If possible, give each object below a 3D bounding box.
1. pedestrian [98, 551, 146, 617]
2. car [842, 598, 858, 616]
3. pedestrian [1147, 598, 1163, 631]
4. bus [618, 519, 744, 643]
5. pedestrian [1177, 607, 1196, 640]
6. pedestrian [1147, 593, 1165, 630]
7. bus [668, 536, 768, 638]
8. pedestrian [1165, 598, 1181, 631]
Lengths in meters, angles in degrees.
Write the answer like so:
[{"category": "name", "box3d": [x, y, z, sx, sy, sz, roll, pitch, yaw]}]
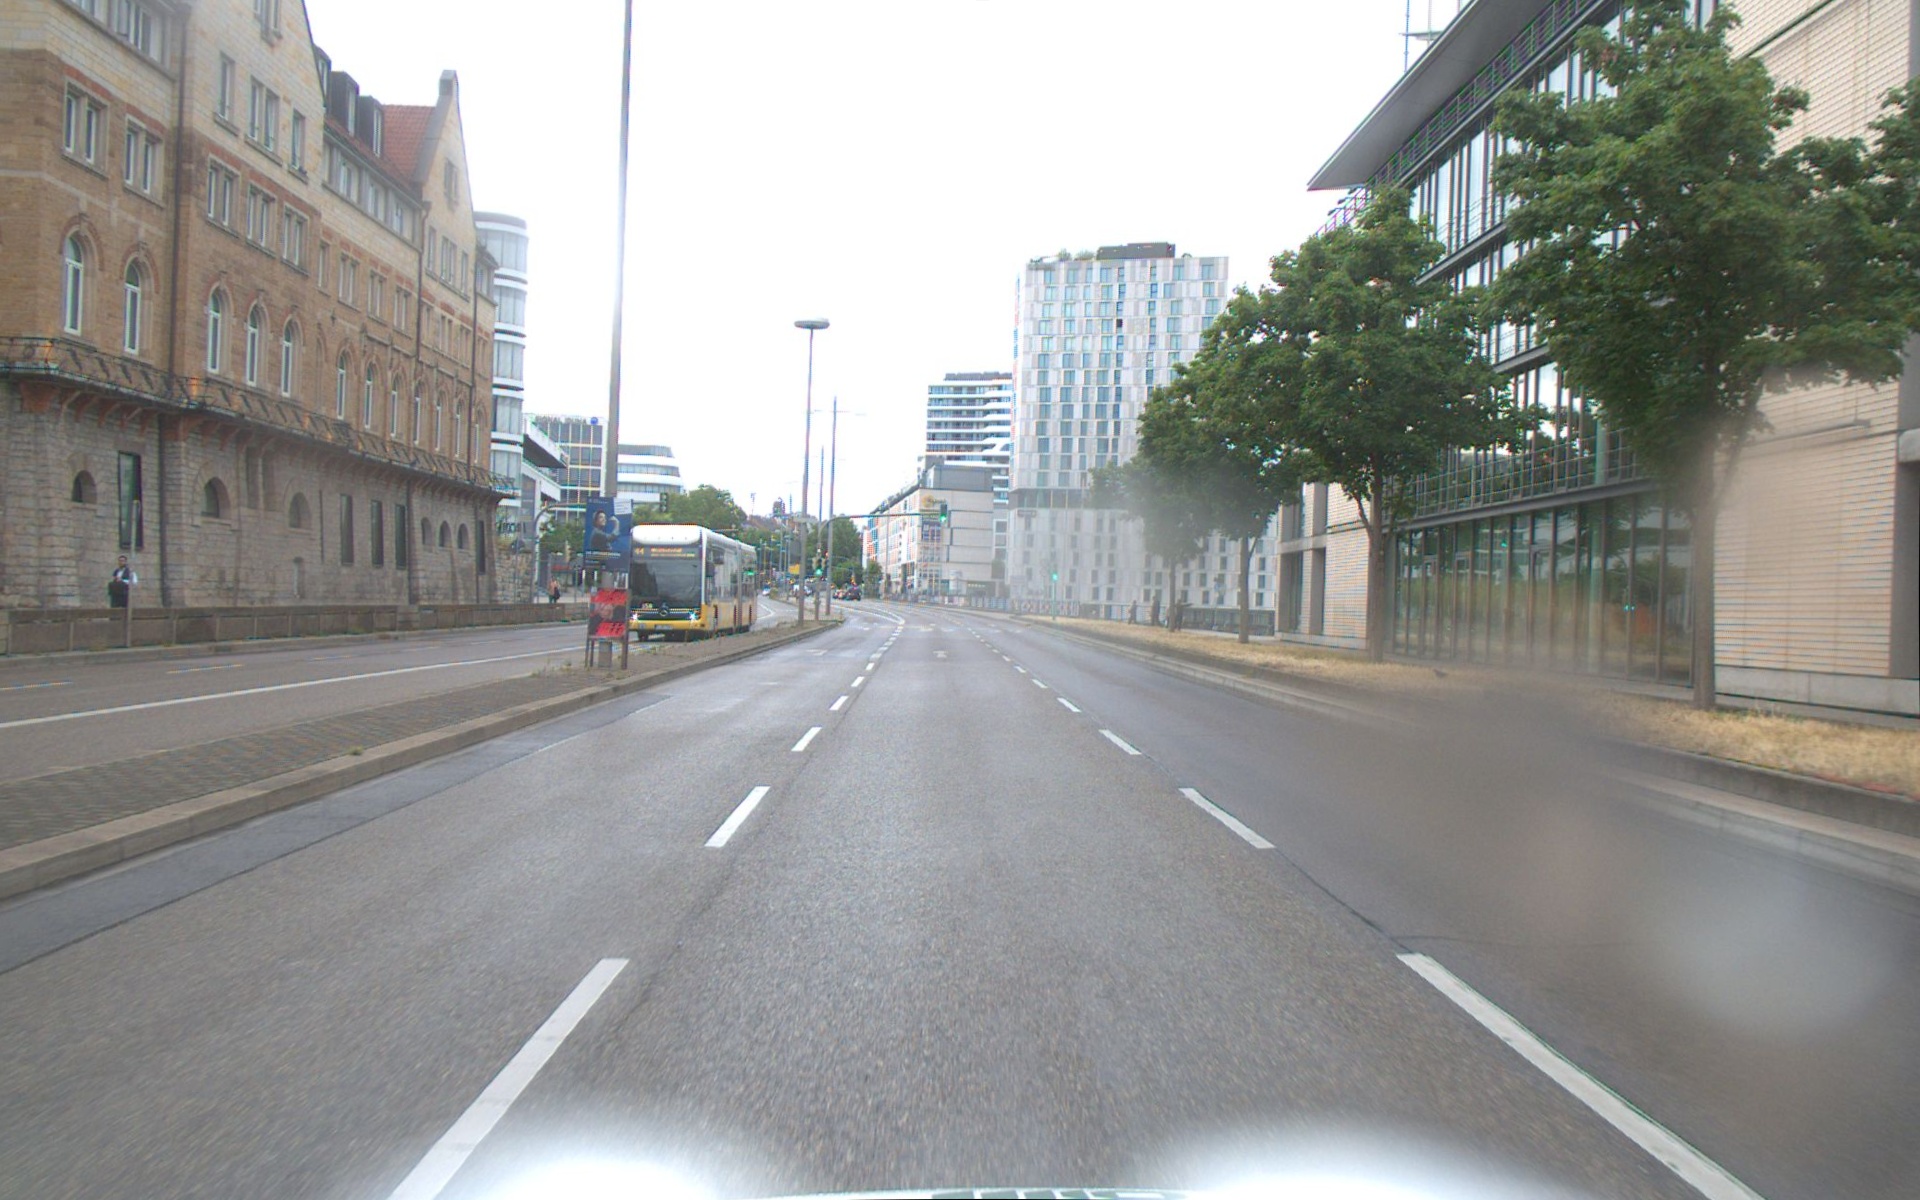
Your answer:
[{"category": "pedestrian", "box3d": [-19.293, -0.371, 38.094, 0.739, 1.503, 0.714, 0, 1, -2]}, {"category": "car", "box3d": [-16.817, 1.062, 253.558, 1.955, 2.382, 3.998, -8, 0, -2]}, {"category": "pedestrian", "box3d": [9.873, 0.727, 83.651, 0.540, 1.605, 0.669, 1, 1, 33]}, {"category": "bus", "box3d": [-8.873, -0.563, 53.778, 2.644, 3.621, 10.090, 0, 0, -2]}, {"category": "pedestrian", "box3d": [11.243, 1.182, 82.044, 0.657, 1.605, 0.666, 1, 2, 36]}, {"category": "pedestrian", "box3d": [9.929, 0.579, 83.663, 0.542, 1.873, 0.777, 2, 2, 45]}, {"category": "bus", "box3d": [-9.235, -0.519, 64.162, 2.644, 3.621, 10.090, 0, 0, -2]}, {"category": "pedestrian", "box3d": [10.511, 0.725, 81.477, 0.540, 1.605, 0.669, 1, 1, 33]}]
